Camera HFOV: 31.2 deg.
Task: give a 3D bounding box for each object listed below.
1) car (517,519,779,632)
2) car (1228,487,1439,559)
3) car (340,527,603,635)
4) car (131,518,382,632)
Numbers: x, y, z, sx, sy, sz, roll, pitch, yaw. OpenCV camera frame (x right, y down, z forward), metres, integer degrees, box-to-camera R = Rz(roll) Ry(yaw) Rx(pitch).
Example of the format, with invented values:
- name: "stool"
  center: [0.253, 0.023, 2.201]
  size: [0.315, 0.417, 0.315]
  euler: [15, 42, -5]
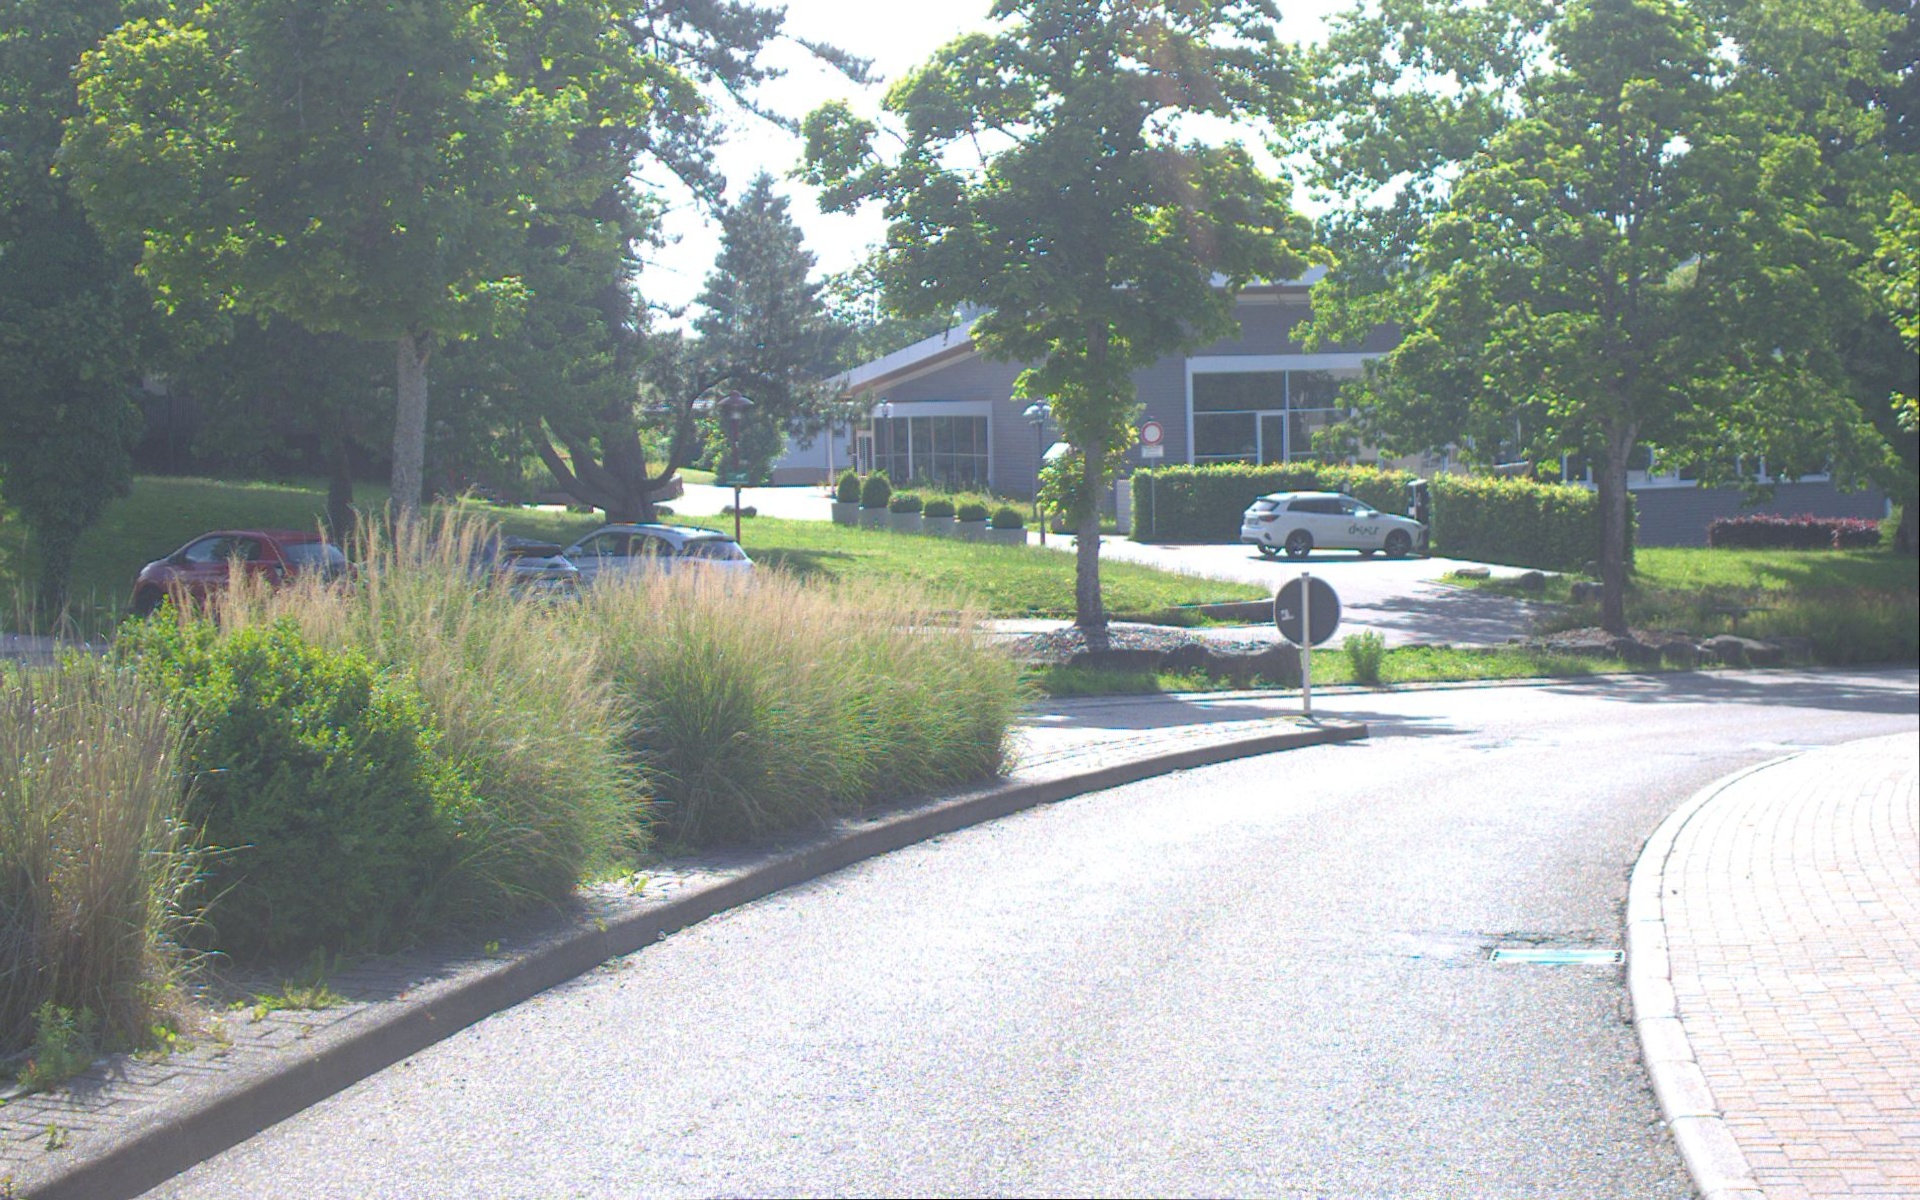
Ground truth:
- name: "car"
  center: [-4.983, -0.397, 54.677]
  size: [3.937, 1.603, 1.772]
  euler: [3, 2, 37]
- name: "car"
  center: [9.147, -1.903, 84.330]
  size: [4.714, 1.528, 2.001]
  euler: [-2, 6, -19]
- name: "car"
  center: [-7.334, -0.293, 51.475]
  size: [3.710, 1.428, 1.772]
  euler: [3, 2, 38]
- name: "car"
  center: [-10.055, -0.366, 49.077]
  size: [3.204, 1.465, 1.772]
  euler: [3, 2, 36]
